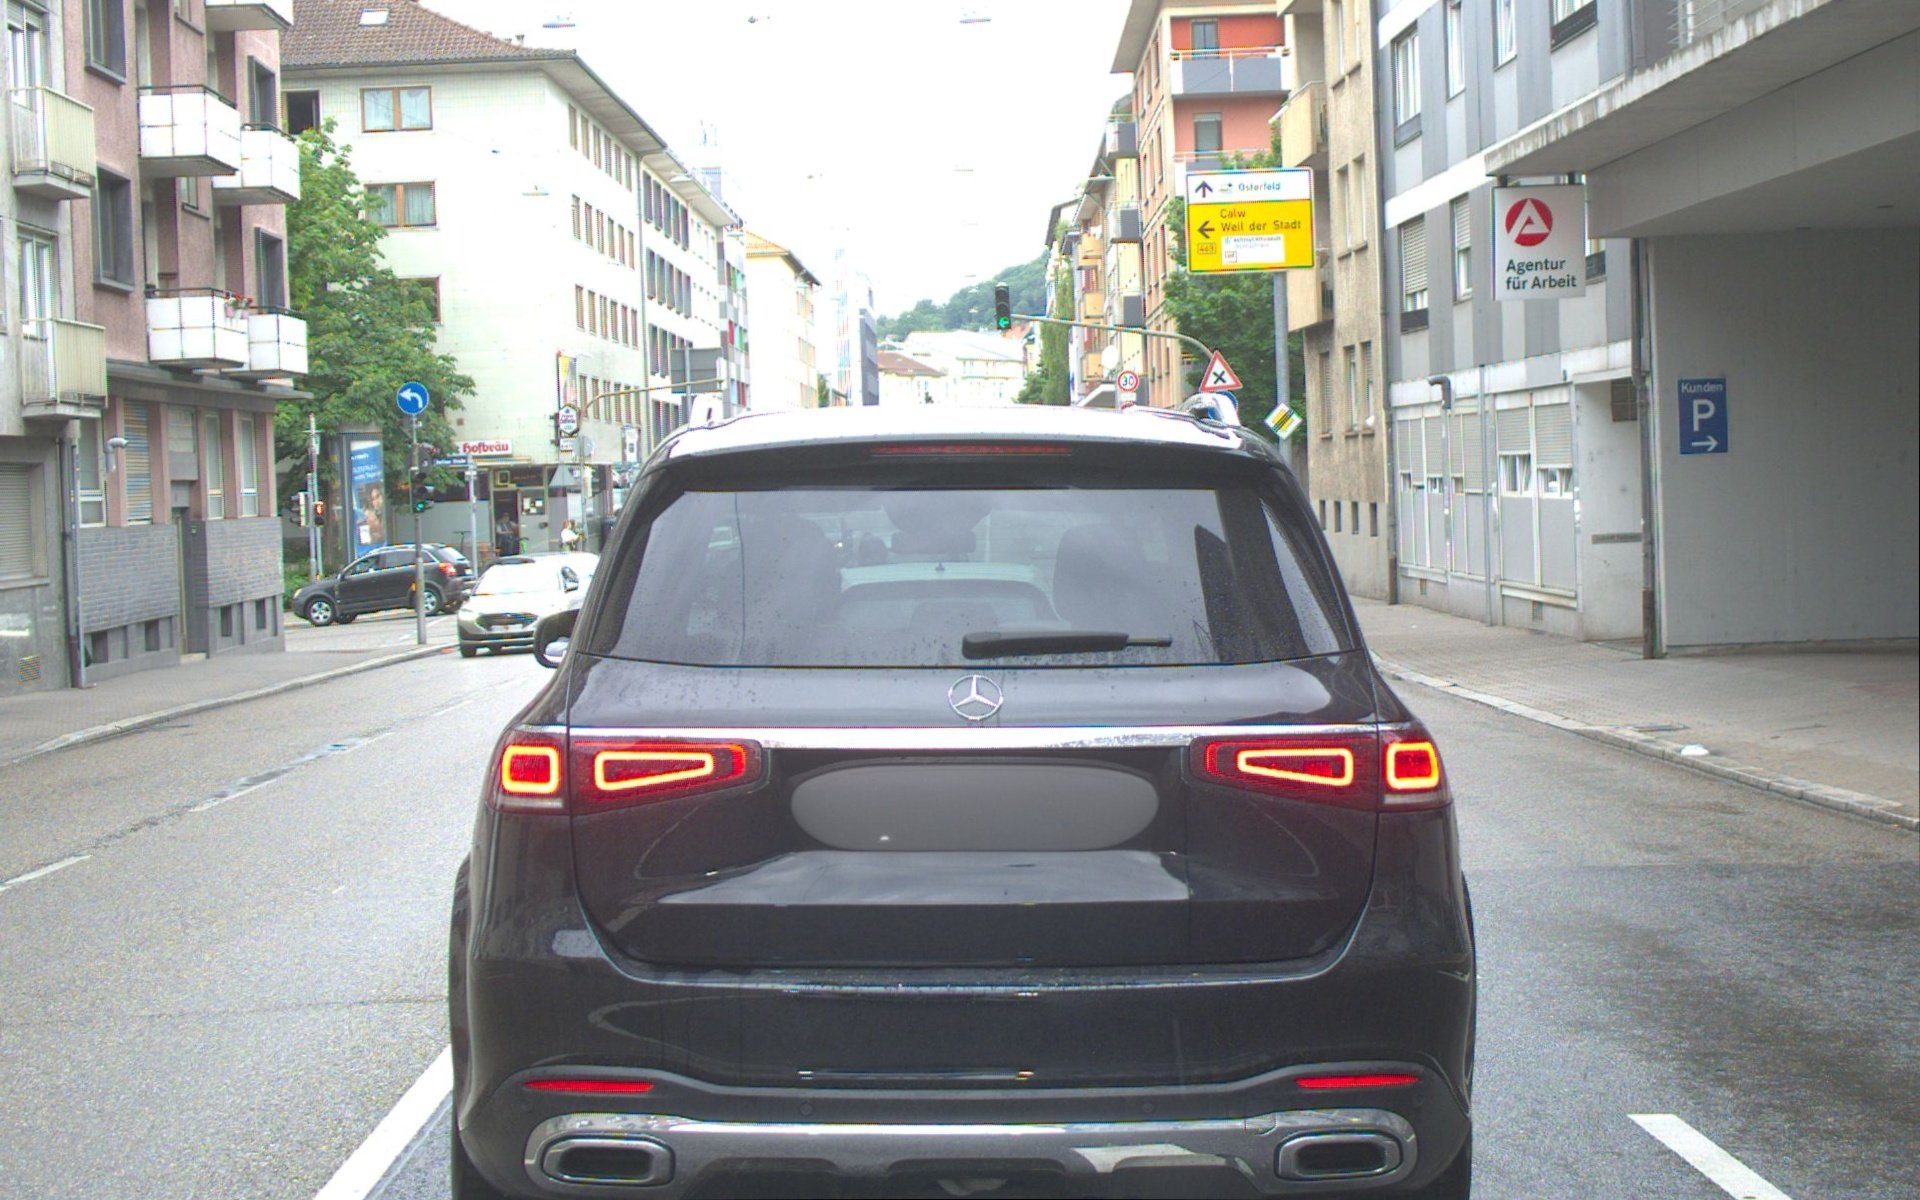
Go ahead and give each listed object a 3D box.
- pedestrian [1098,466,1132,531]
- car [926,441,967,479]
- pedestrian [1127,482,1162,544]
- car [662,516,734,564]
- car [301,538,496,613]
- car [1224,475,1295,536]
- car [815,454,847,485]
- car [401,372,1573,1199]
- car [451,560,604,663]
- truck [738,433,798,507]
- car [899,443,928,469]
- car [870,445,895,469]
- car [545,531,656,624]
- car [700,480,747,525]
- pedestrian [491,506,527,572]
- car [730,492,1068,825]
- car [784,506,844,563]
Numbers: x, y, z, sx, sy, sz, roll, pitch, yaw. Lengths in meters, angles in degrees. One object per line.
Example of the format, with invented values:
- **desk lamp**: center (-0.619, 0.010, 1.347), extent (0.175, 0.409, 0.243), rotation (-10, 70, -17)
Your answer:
- **pedestrian**: center (4.925, -3.219, 109.314), extent (0.923, 2.007, 0.706), rotation (-2, 1, -2)
- **car**: center (-0.676, -6.922, 169.949), extent (1.723, 1.753, 4.219), rotation (-3, 2, -3)
- **pedestrian**: center (5.464, -2.587, 101.960), extent (0.923, 1.798, 0.706), rotation (-2, 1, -2)
- **car**: center (-7.553, -1.722, 99.437), extent (1.885, 1.260, 4.218), rotation (-3, 1, -3)
- **car**: center (-13.567, -0.596, 83.191), extent (4.206, 1.534, 1.820), rotation (-3, 1, 12)
- **car**: center (8.166, -2.573, 93.952), extent (1.671, 1.583, 3.330), rotation (-2, 1, 2)
- **car**: center (-7.250, -7.343, 192.991), extent (1.618, 1.534, 4.219), rotation (-3, 4, -3)
- **car**: center (0.018, 0.503, 8.065), extent (1.985, 1.799, 4.390), rotation (1, 1, -1)
- **car**: center (-7.151, 0.159, 57.231), extent (1.772, 1.534, 4.359), rotation (-3, 1, 2)
- **truck**: center (-8.718, -5.972, 156.359), extent (2.479, 3.035, 9.923), rotation (-3, 3, -3)
- **car**: center (-2.938, -9.093, 217.425), extent (1.618, 1.534, 4.219), rotation (-3, 2, -3)
- **car**: center (-5.628, -10.386, 249.488), extent (1.618, 1.534, 4.219), rotation (-3, 4, -3)
- **car**: center (-7.081, -0.470, 67.433), extent (1.772, 1.640, 4.413), rotation (-4, 2, -10)
- **car**: center (-8.992, -3.713, 131.143), extent (1.618, 1.534, 4.218), rotation (-3, 1, -3)
- **pedestrian**: center (-13.307, -1.794, 101.439), extent (0.923, 1.895, 0.706), rotation (-2, 1, -2)
- **car**: center (-0.423, 0.295, 20.190), extent (1.751, 1.725, 4.218), rotation (1, 0, -3)
- **car**: center (-4.289, -1.907, 100.574), extent (1.618, 1.534, 4.218), rotation (-3, 1, -3)
